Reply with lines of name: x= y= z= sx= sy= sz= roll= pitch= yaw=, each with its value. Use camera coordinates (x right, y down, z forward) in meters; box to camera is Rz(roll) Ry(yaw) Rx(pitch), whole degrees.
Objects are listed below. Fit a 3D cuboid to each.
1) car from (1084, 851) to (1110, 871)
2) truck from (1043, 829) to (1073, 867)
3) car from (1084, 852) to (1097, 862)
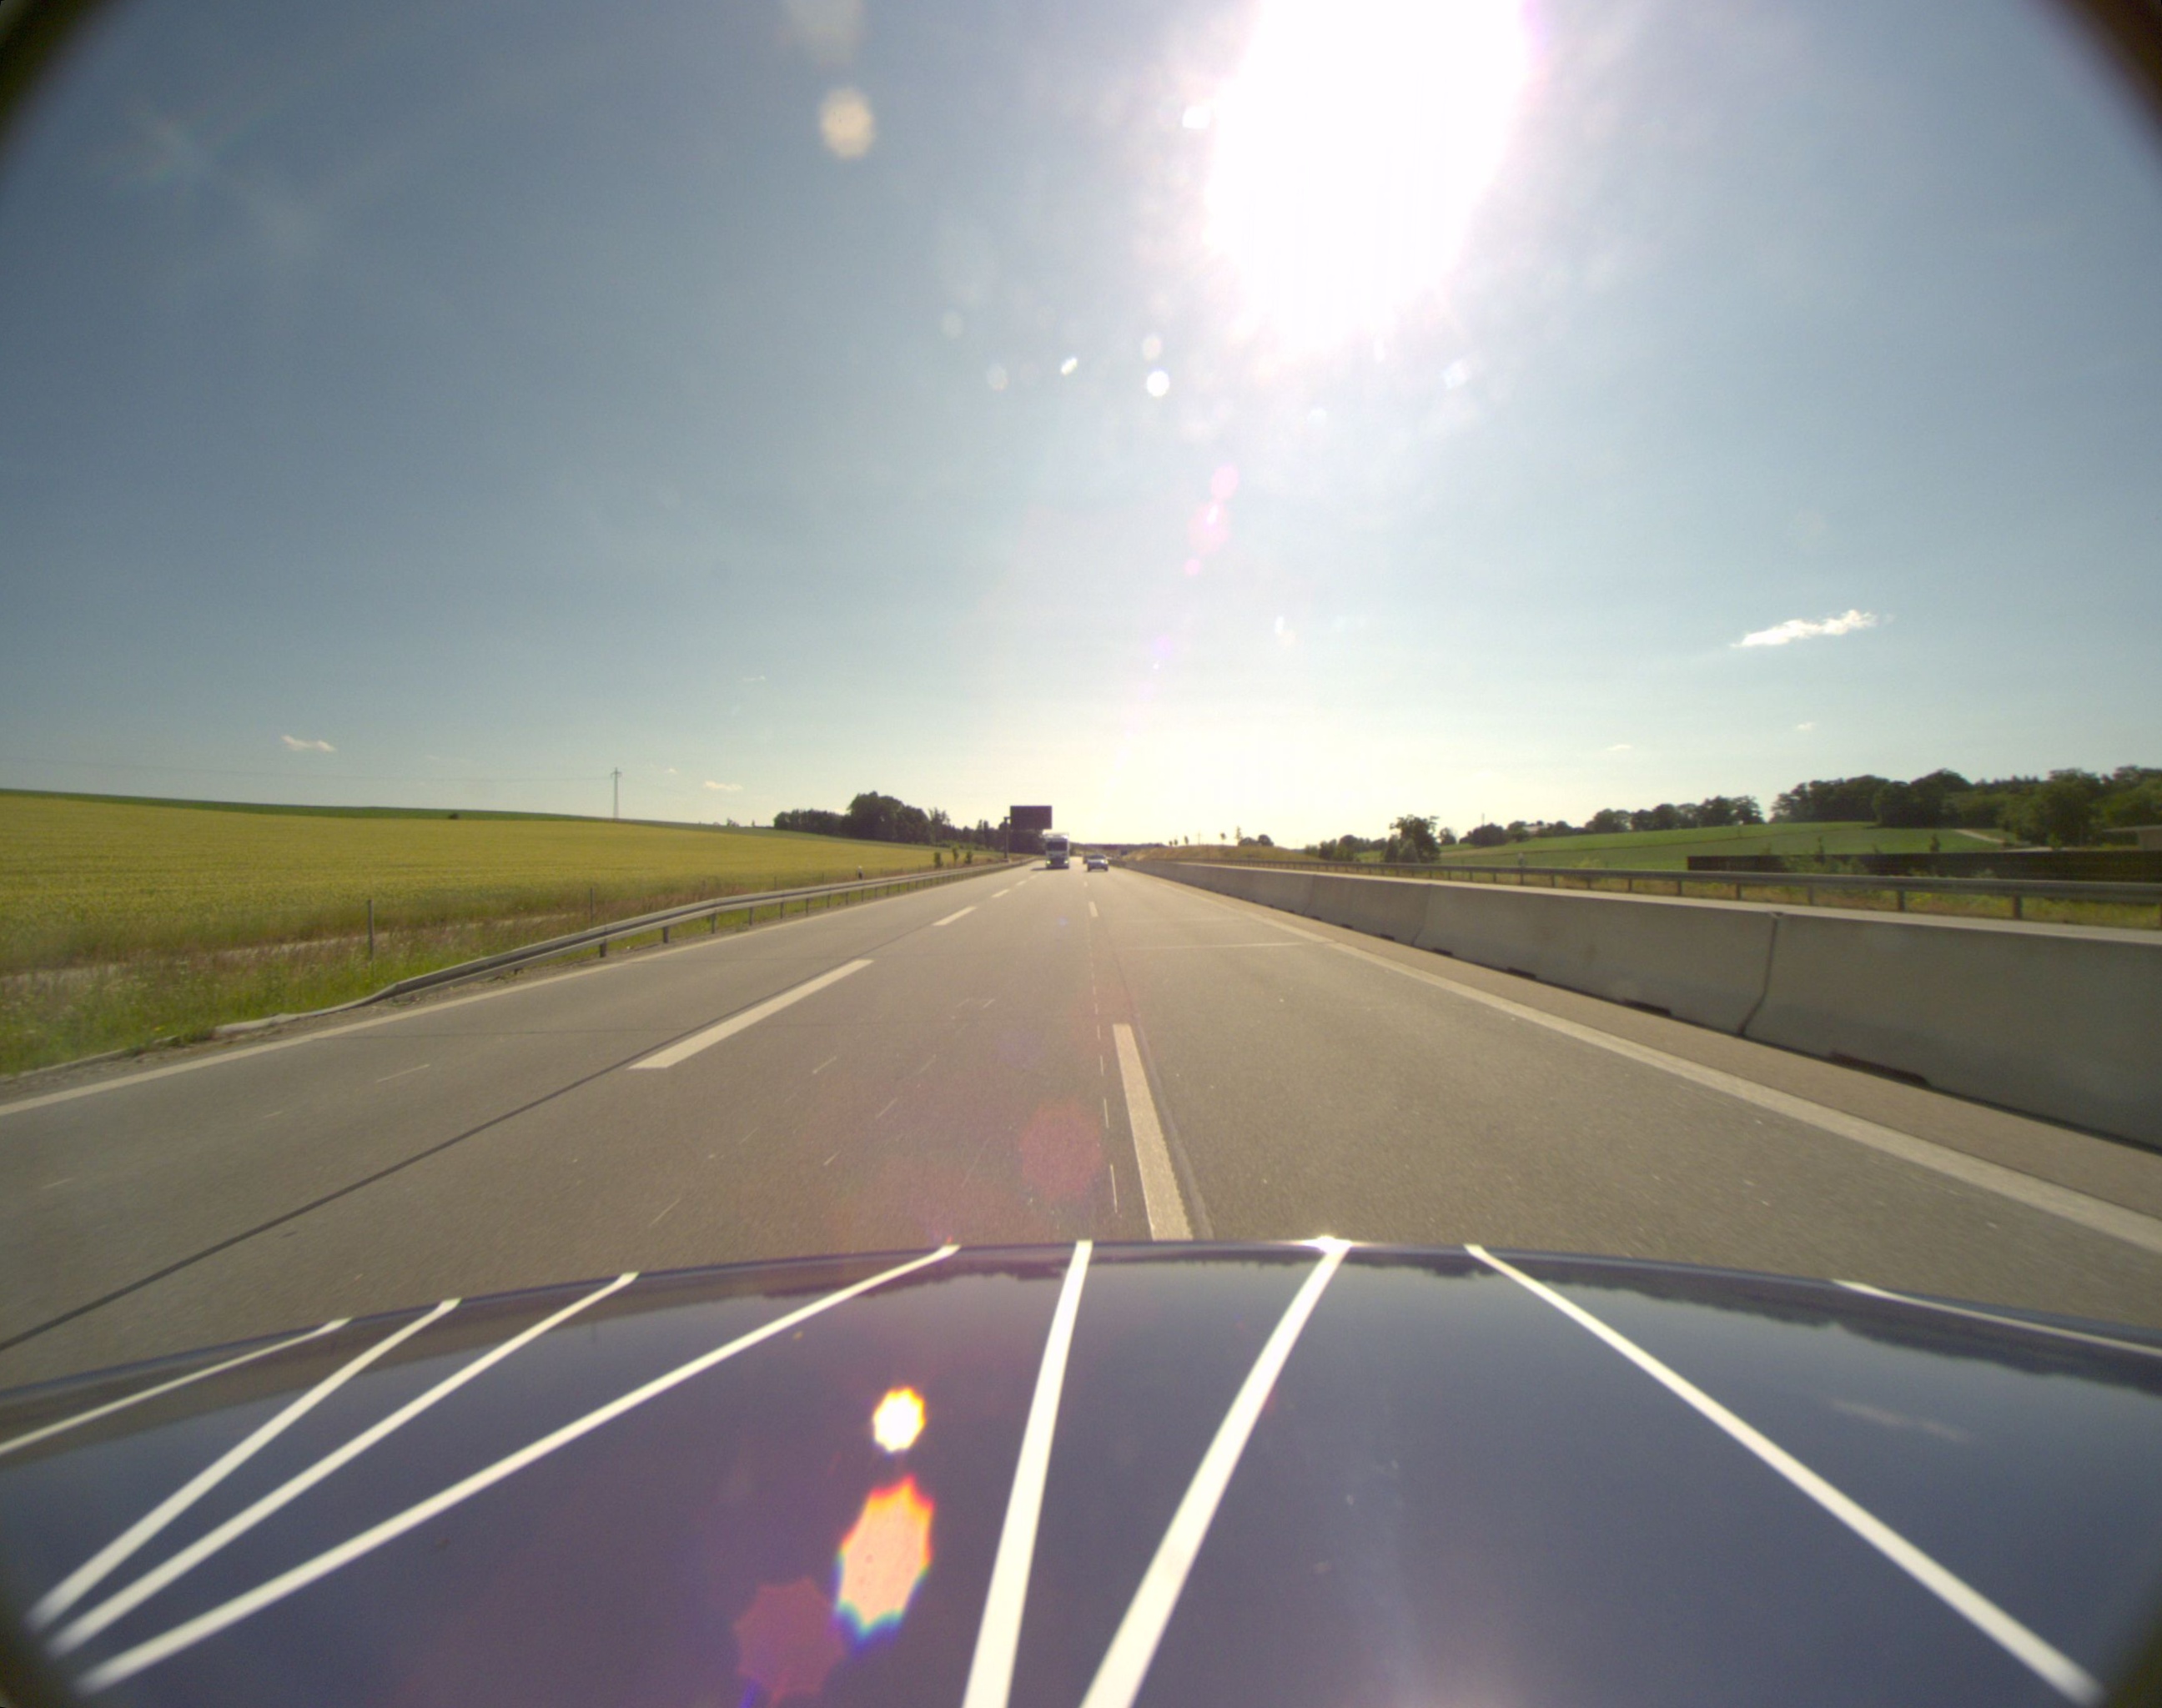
car: x=1.399 y=0.545 z=64.479 sx=1.891 sy=1.565 sz=3.793 roll=-3 pitch=0 yaw=4
truck: x=-2.509 y=-0.654 z=84.912 sx=3.090 sy=3.991 sz=6.188 roll=1 pitch=0 yaw=0
car: x=1.521 y=0.395 z=121.016 sx=1.899 sy=1.560 sz=4.001 roll=1 pitch=0 yaw=3
